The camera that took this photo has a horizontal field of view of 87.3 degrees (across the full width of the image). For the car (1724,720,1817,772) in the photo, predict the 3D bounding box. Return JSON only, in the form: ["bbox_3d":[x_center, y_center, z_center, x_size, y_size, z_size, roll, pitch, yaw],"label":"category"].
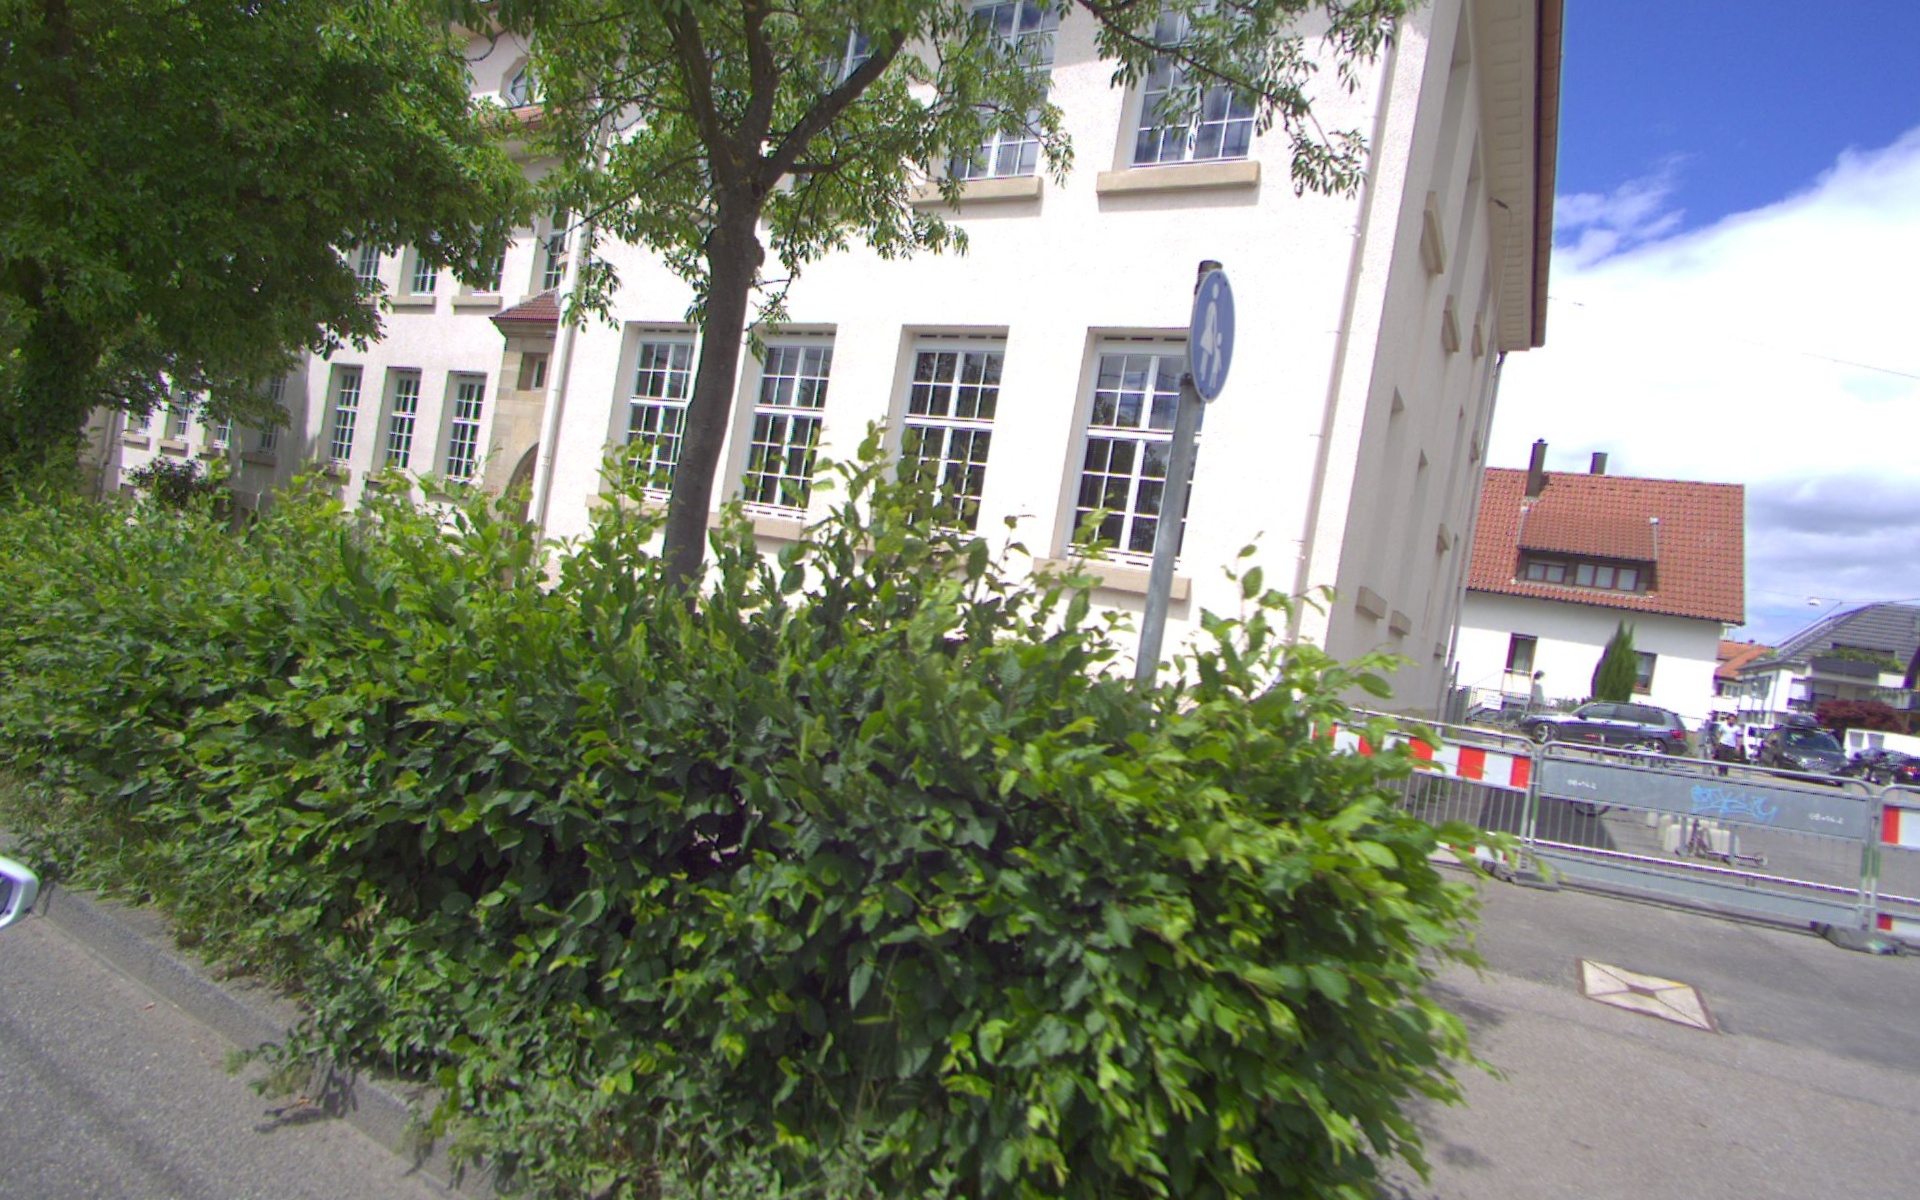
[{"bbox_3d":[30.014,5.367,37.358,1.821,1.415,3.996,8,-1,28],"label":"car"}]

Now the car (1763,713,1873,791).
[{"bbox_3d":[27.607,4.823,32.515,1.822,2.038,3.994,8,-1,31],"label":"car"}]

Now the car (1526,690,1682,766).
[{"bbox_3d":[19.875,3.914,31.218,3.801,1.652,1.774,8,0,32],"label":"car"}]

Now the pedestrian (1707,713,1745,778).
[{"bbox_3d":[21.104,3.994,27.715,0.601,1.676,0.431,8,1,30],"label":"pedestrian"}]

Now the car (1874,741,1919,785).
[{"bbox_3d":[38.239,6.584,40.212,1.573,1.437,3.994,8,-1,30],"label":"car"}]
